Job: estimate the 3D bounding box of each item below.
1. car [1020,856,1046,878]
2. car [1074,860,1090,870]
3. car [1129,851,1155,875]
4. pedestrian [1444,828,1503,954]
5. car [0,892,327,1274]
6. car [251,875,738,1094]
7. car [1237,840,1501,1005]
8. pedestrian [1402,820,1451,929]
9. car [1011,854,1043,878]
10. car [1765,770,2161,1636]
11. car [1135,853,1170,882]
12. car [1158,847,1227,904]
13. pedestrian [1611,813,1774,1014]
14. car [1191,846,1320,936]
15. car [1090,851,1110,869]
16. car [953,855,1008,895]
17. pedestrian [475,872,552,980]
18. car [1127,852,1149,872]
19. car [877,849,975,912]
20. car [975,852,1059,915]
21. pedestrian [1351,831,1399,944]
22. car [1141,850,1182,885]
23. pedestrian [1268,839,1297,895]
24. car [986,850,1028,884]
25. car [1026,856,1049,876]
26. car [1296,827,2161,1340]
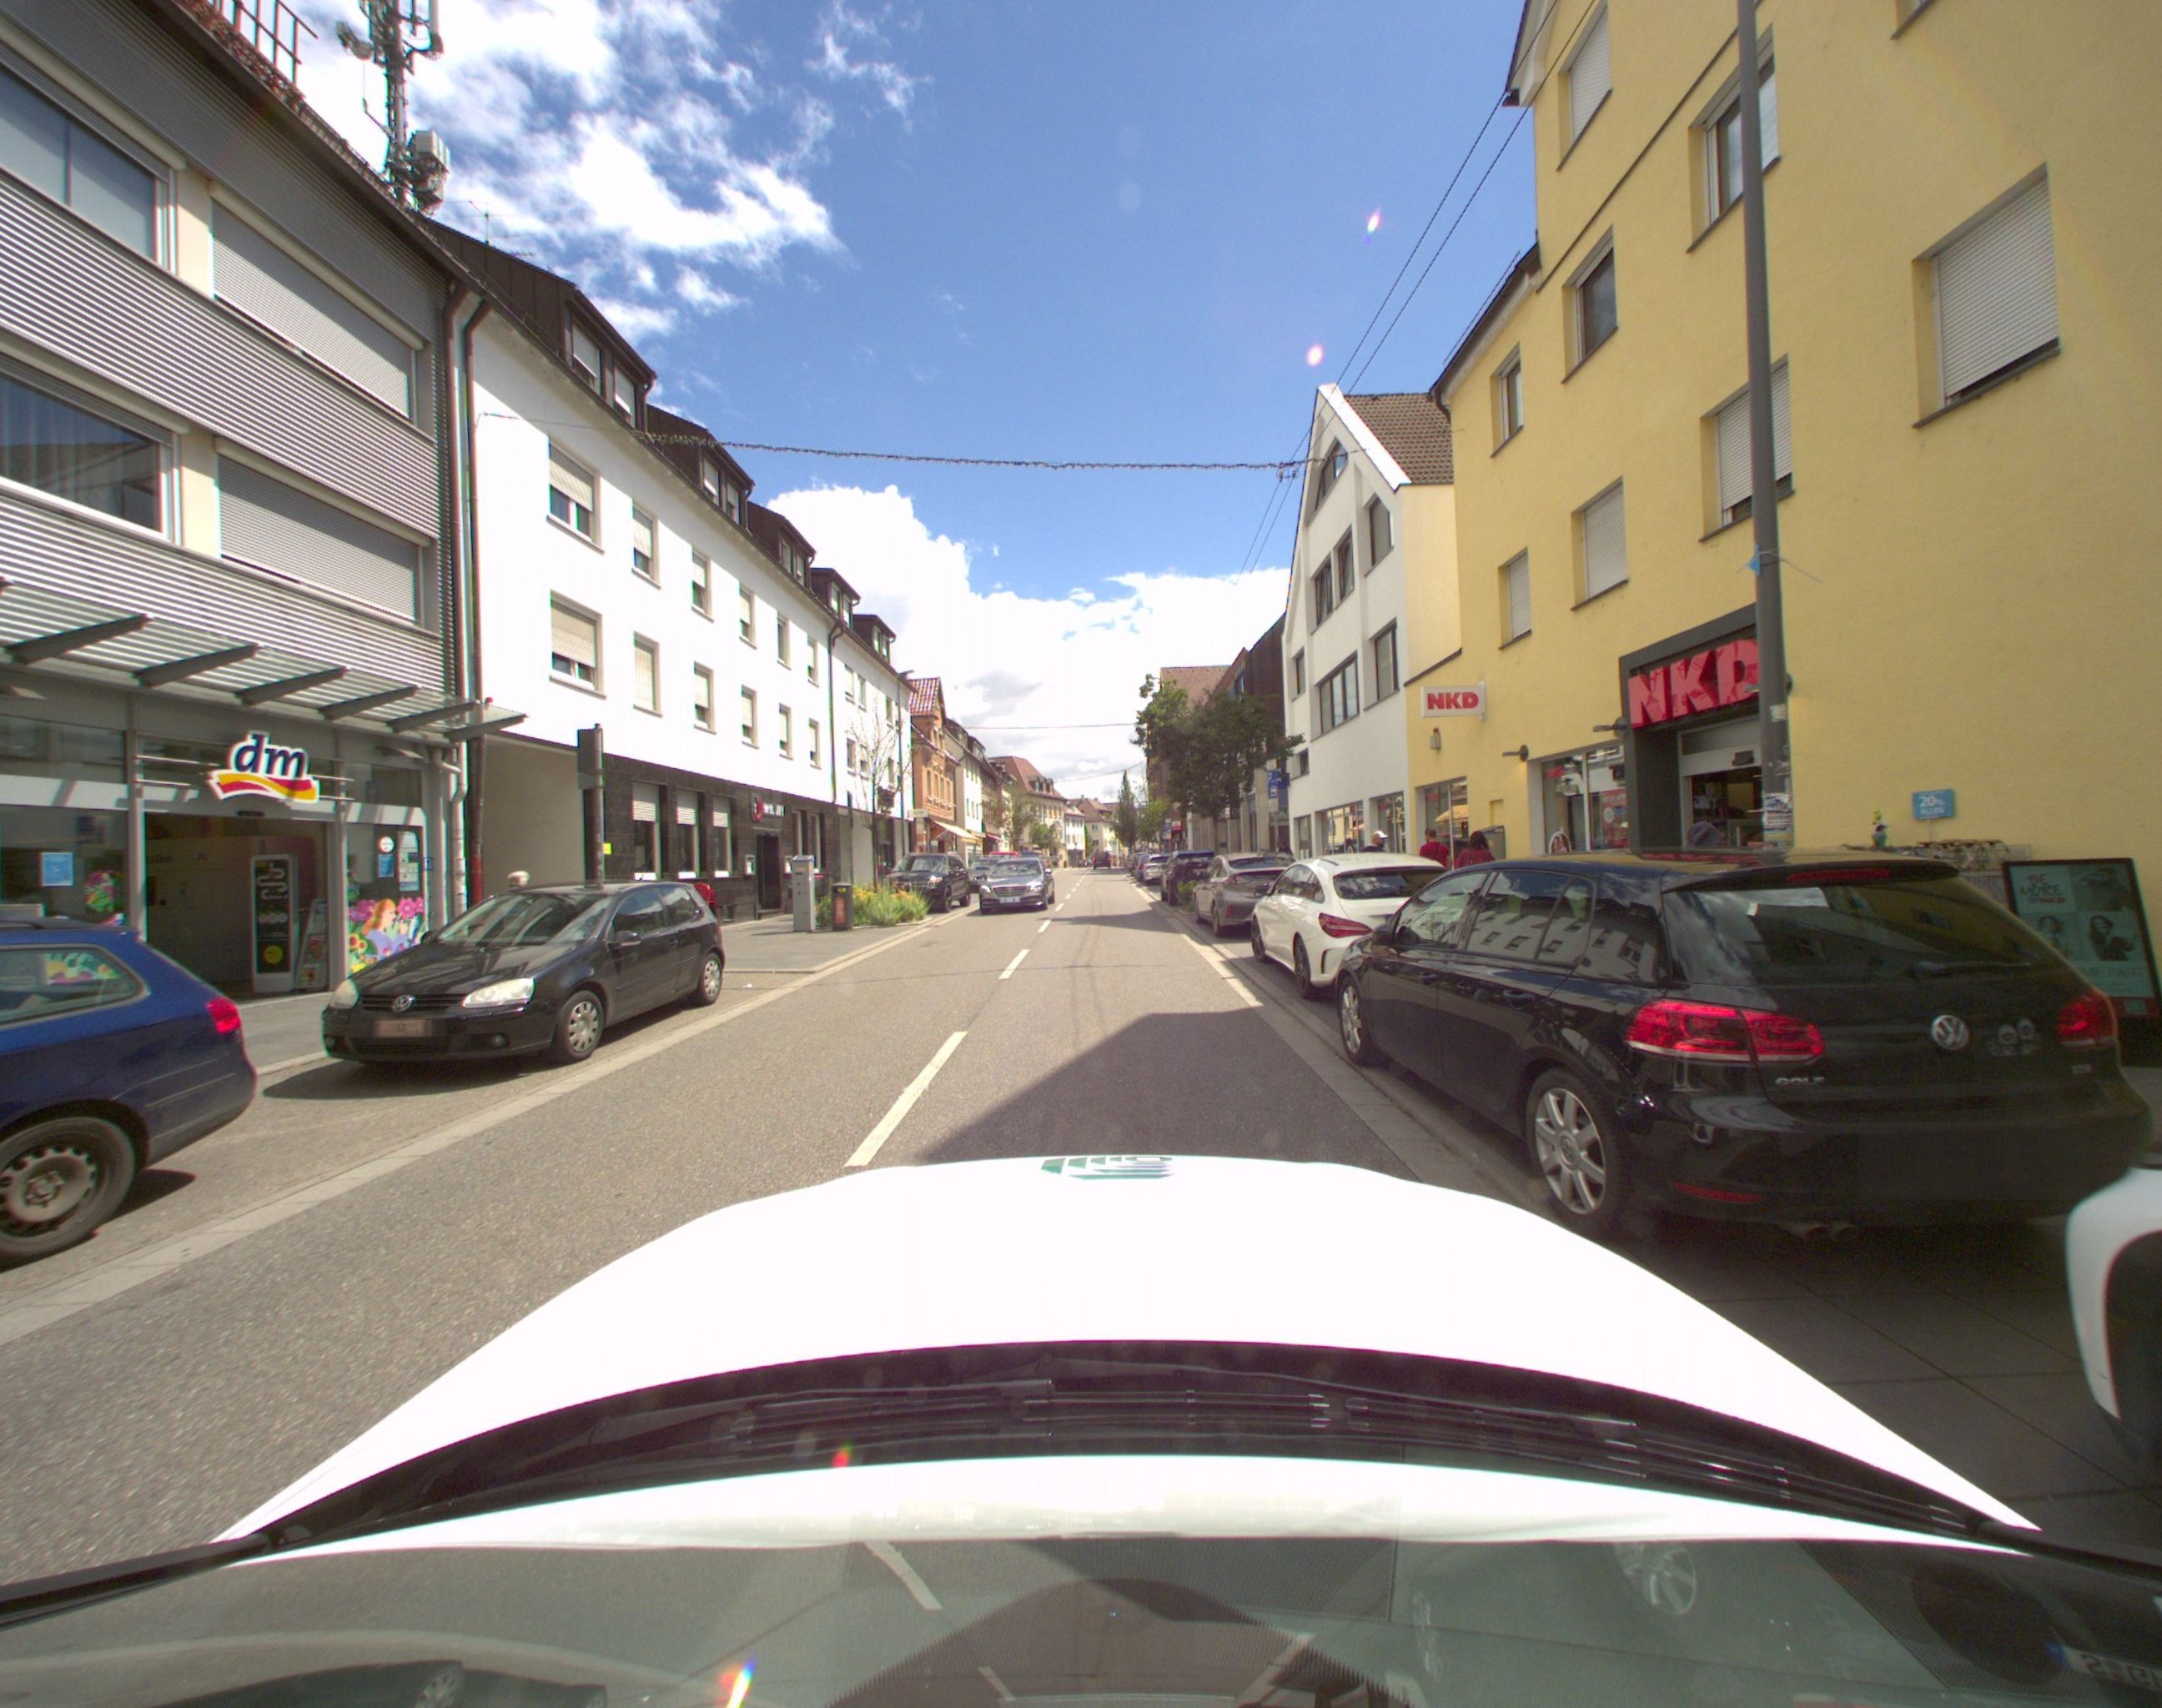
[{"bbox_3d":[-3.723,0.954,63.559,1.794,1.604,4.348,-2,0,-2],"label":"car"},{"bbox_3d":[0.137,1.681,127.180,1.613,1.486,3.818,-1,-1,13],"label":"car"},{"bbox_3d":[4.133,0.607,55.664,1.603,1.532,3.797,-3,0,3],"label":"car"},{"bbox_3d":[5.840,0.541,12.134,0.585,1.841,0.576,0,-1,2],"label":"pedestrian"},{"bbox_3d":[-5.396,0.986,2.429,1.783,1.513,4.714,-1,0,2],"label":"car"},{"bbox_3d":[-5.087,0.989,7.956,1.785,1.503,4.175,0,-1,-2],"label":"car"},{"bbox_3d":[3.056,0.654,9.792,1.624,1.476,4.960,0,-1,3],"label":"car"},{"bbox_3d":[5.981,0.353,14.113,0.585,1.841,0.576,0,-1,2],"label":"pedestrian"},{"bbox_3d":[-3.835,0.819,58.564,1.792,1.598,4.390,-1,0,2],"label":"car"},{"bbox_3d":[2.836,0.614,0.449,1.685,1.574,3.753,0,-1,-2],"label":"car"},{"bbox_3d":[3.873,0.723,44.668,1.714,1.494,4.111,0,-1,3],"label":"car"},{"bbox_3d":[3.301,0.617,24.683,1.714,1.577,4.111,0,-1,3],"label":"car"},{"bbox_3d":[5.060,0.472,6.789,0.747,1.553,0.726,-2,-1,0],"label":"pedestrian"},{"bbox_3d":[3.152,0.636,15.519,1.714,1.476,4.357,0,-1,3],"label":"car"},{"bbox_3d":[2.030,0.673,88.929,2.035,1.848,4.997,0,-1,-1],"label":"car"},{"bbox_3d":[-4.626,0.960,38.058,1.809,1.755,4.467,0,-1,3],"label":"car"},{"bbox_3d":[-7.864,0.986,11.308,0.651,1.455,0.563,0,-1,1],"label":"pedestrian"},{"bbox_3d":[4.726,0.656,67.602,1.603,1.495,3.797,-5,0,3],"label":"car"},{"bbox_3d":[-4.653,0.772,25.132,1.808,1.755,4.674,0,-1,4],"label":"car"},{"bbox_3d":[-1.785,0.786,24.226,1.898,1.563,4.648,-3,0,2],"label":"car"},{"bbox_3d":[4.921,0.555,13.647,0.585,1.841,0.576,0,-1,2],"label":"pedestrian"},{"bbox_3d":[3.827,0.644,39.237,1.714,1.577,4.431,0,-1,3],"label":"car"},{"bbox_3d":[6.405,0.419,25.852,0.738,1.737,0.757,0,-1,2],"label":"pedestrian"},{"bbox_3d":[-4.255,0.771,47.454,1.809,1.889,4.843,0,-1,2],"label":"car"},{"bbox_3d":[-3.690,1.011,69.683,1.794,1.604,4.217,-2,0,0],"label":"car"},{"bbox_3d":[2.692,0.610,4.626,1.684,1.472,4.522,0,1,-1],"label":"car"}]
